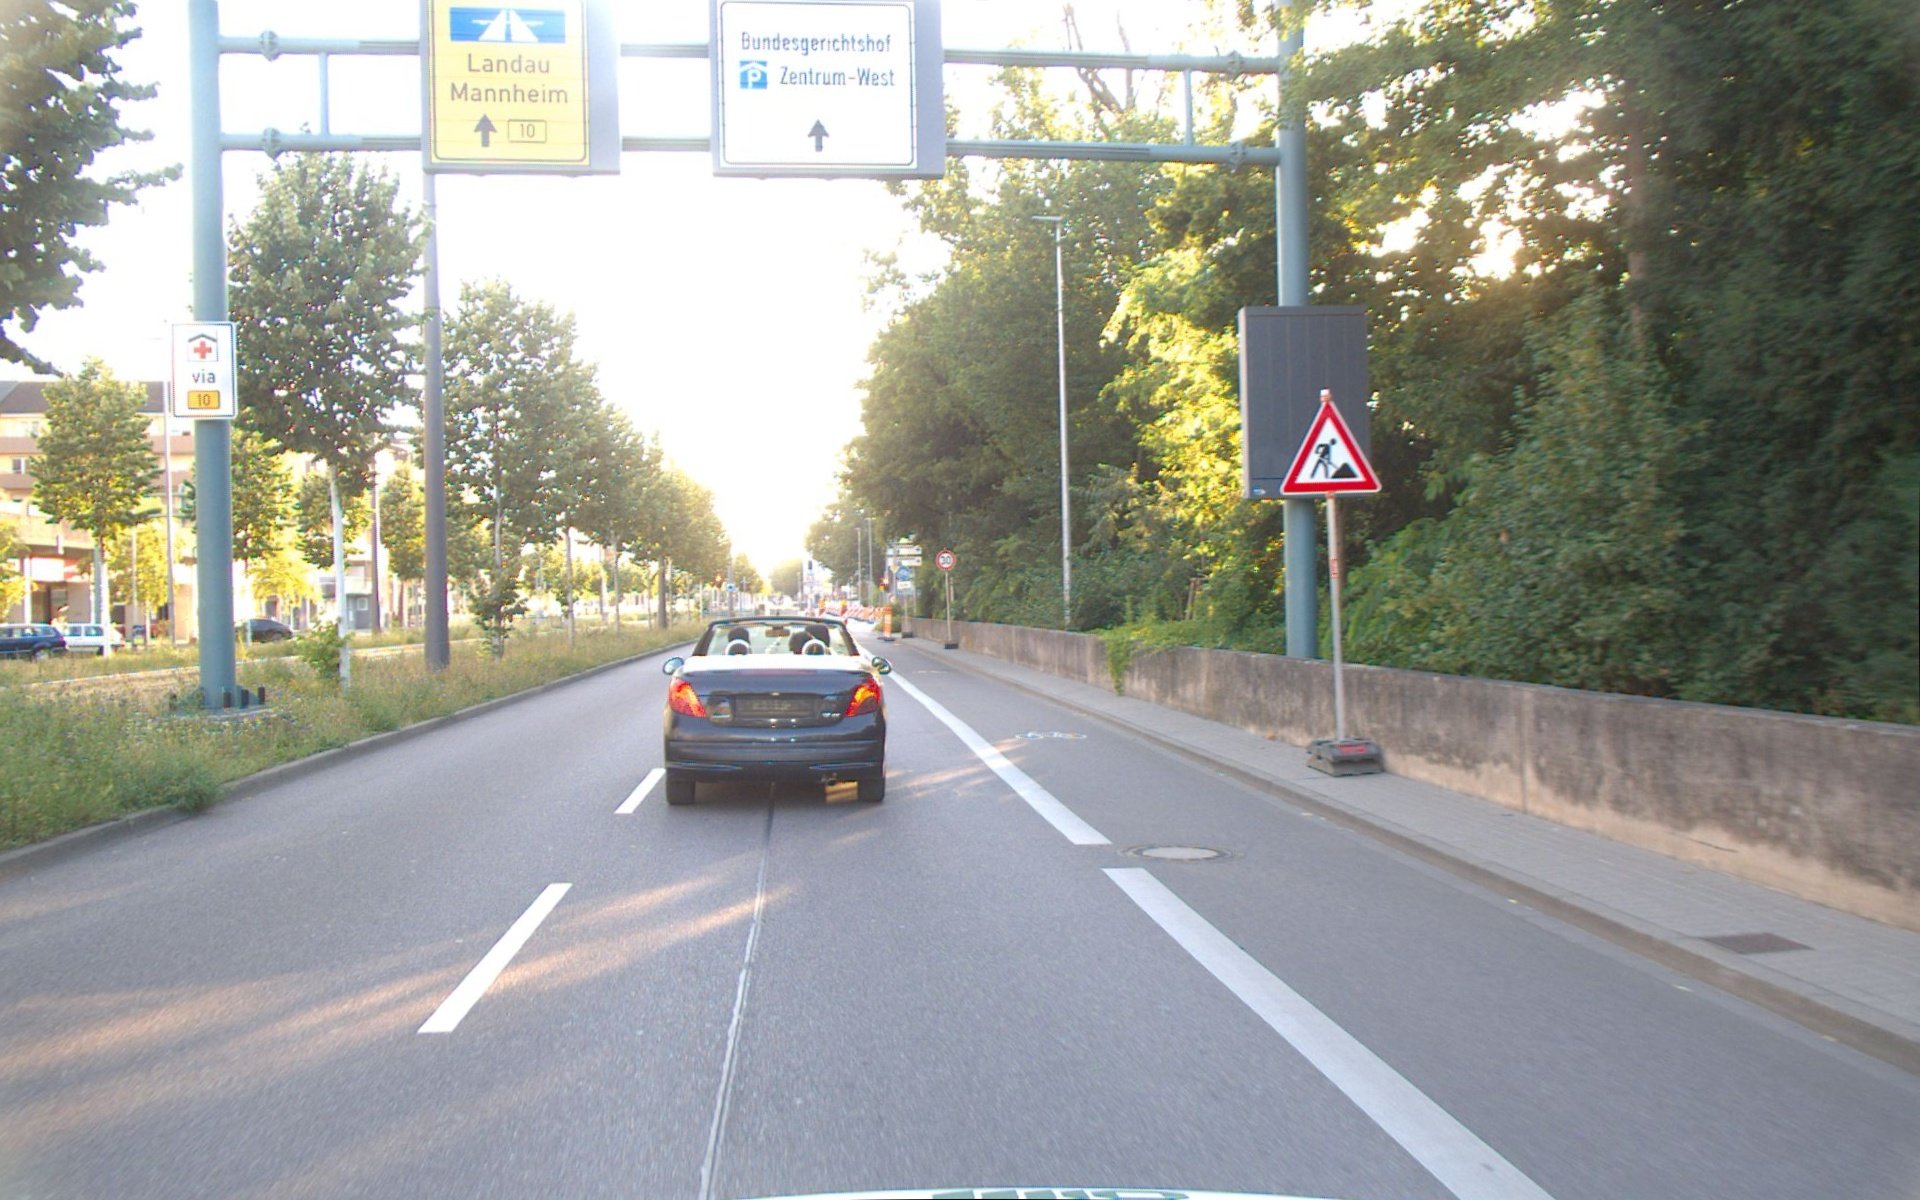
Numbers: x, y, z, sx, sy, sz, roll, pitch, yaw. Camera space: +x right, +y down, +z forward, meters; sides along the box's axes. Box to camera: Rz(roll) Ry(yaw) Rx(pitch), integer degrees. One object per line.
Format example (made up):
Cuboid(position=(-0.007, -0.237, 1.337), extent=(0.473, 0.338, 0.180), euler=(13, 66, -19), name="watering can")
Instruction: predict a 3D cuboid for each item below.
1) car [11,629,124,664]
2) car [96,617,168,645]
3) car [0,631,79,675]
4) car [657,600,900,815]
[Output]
Cuboid(position=(-38.306, 1.973, 71.016), extent=(4.086, 1.461, 1.802), euler=(1, 0, -37), name="car")
Cuboid(position=(-62.774, 2.328, 125.462), extent=(4.250, 1.800, 2.162), euler=(-4, 2, -9), name="car")
Cuboid(position=(-37.055, 2.065, 64.668), extent=(1.975, 1.618, 4.256), euler=(-2, -1, 44), name="car")
Cuboid(position=(-1.573, 0.764, 13.608), extent=(1.687, 1.475, 3.893), euler=(-1, 0, -9), name="car")
